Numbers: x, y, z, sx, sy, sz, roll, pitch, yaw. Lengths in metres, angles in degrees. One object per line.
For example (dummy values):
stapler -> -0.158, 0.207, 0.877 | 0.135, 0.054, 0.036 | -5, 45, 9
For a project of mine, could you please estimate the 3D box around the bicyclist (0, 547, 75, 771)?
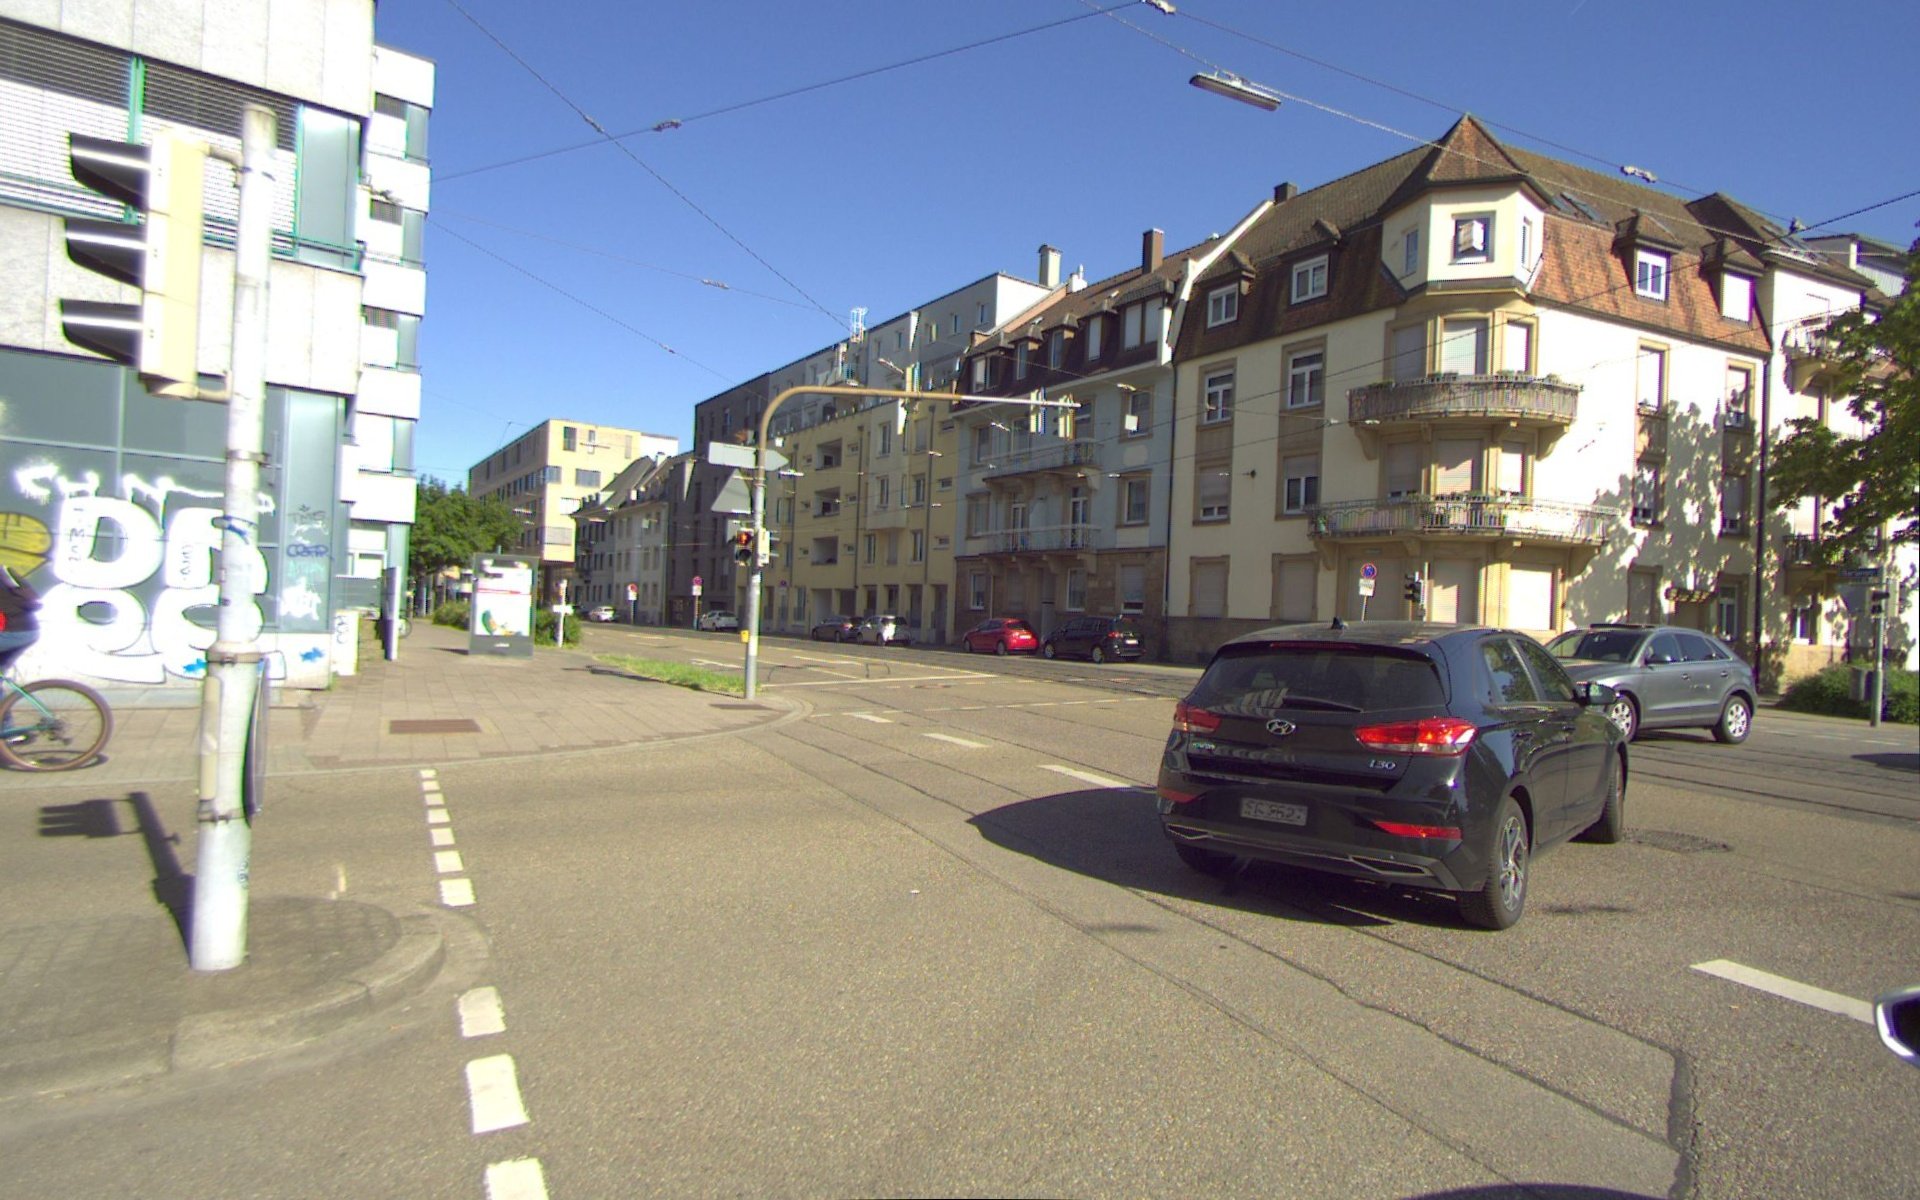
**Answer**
bicyclist -> -7.624, 0.432, 7.753 | 1.020, 1.682, 0.777 | 2, -1, -33

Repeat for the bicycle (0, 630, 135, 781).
bicycle -> -7.715, 0.802, 7.714 | 2.036, 1.138, 0.538 | 2, -1, -33

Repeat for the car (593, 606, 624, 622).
car -> -31.521, 1.254, 90.047 | 1.784, 1.381, 3.680 | 1, 0, -32

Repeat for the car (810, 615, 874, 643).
car -> -6.298, 1.541, 53.409 | 1.943, 1.381, 3.807 | 1, 0, -32

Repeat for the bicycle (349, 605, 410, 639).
bicycle -> -18.855, 0.718, 32.654 | 1.643, 0.994, 0.484 | 3, 0, -26

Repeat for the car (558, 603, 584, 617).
car -> -39.752, 0.995, 102.612 | 1.784, 1.347, 3.680 | 1, 0, -32

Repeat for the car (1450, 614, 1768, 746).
car -> 9.240, 1.104, 14.296 | 4.091, 1.631, 1.879 | 3, -1, -24

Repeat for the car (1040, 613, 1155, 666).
car -> 4.956, 1.407, 36.766 | 1.942, 1.747, 4.136 | 1, 0, -33

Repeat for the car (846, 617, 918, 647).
car -> -3.896, 1.573, 49.712 | 1.978, 1.381, 3.807 | 1, 0, -32

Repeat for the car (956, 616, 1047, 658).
car -> 1.678, 1.500, 41.728 | 1.879, 1.561, 3.855 | 1, 0, -33

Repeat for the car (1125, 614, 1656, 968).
car -> 2.993, 0.879, 6.380 | 1.781, 1.470, 4.302 | -1, -3, 43

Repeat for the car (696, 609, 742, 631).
car -> -16.487, 1.364, 68.663 | 1.943, 1.381, 3.807 | 1, 0, -32

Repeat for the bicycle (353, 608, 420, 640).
bicycle -> -19.254, 0.812, 33.733 | 1.875, 0.994, 0.484 | 3, 0, -26
